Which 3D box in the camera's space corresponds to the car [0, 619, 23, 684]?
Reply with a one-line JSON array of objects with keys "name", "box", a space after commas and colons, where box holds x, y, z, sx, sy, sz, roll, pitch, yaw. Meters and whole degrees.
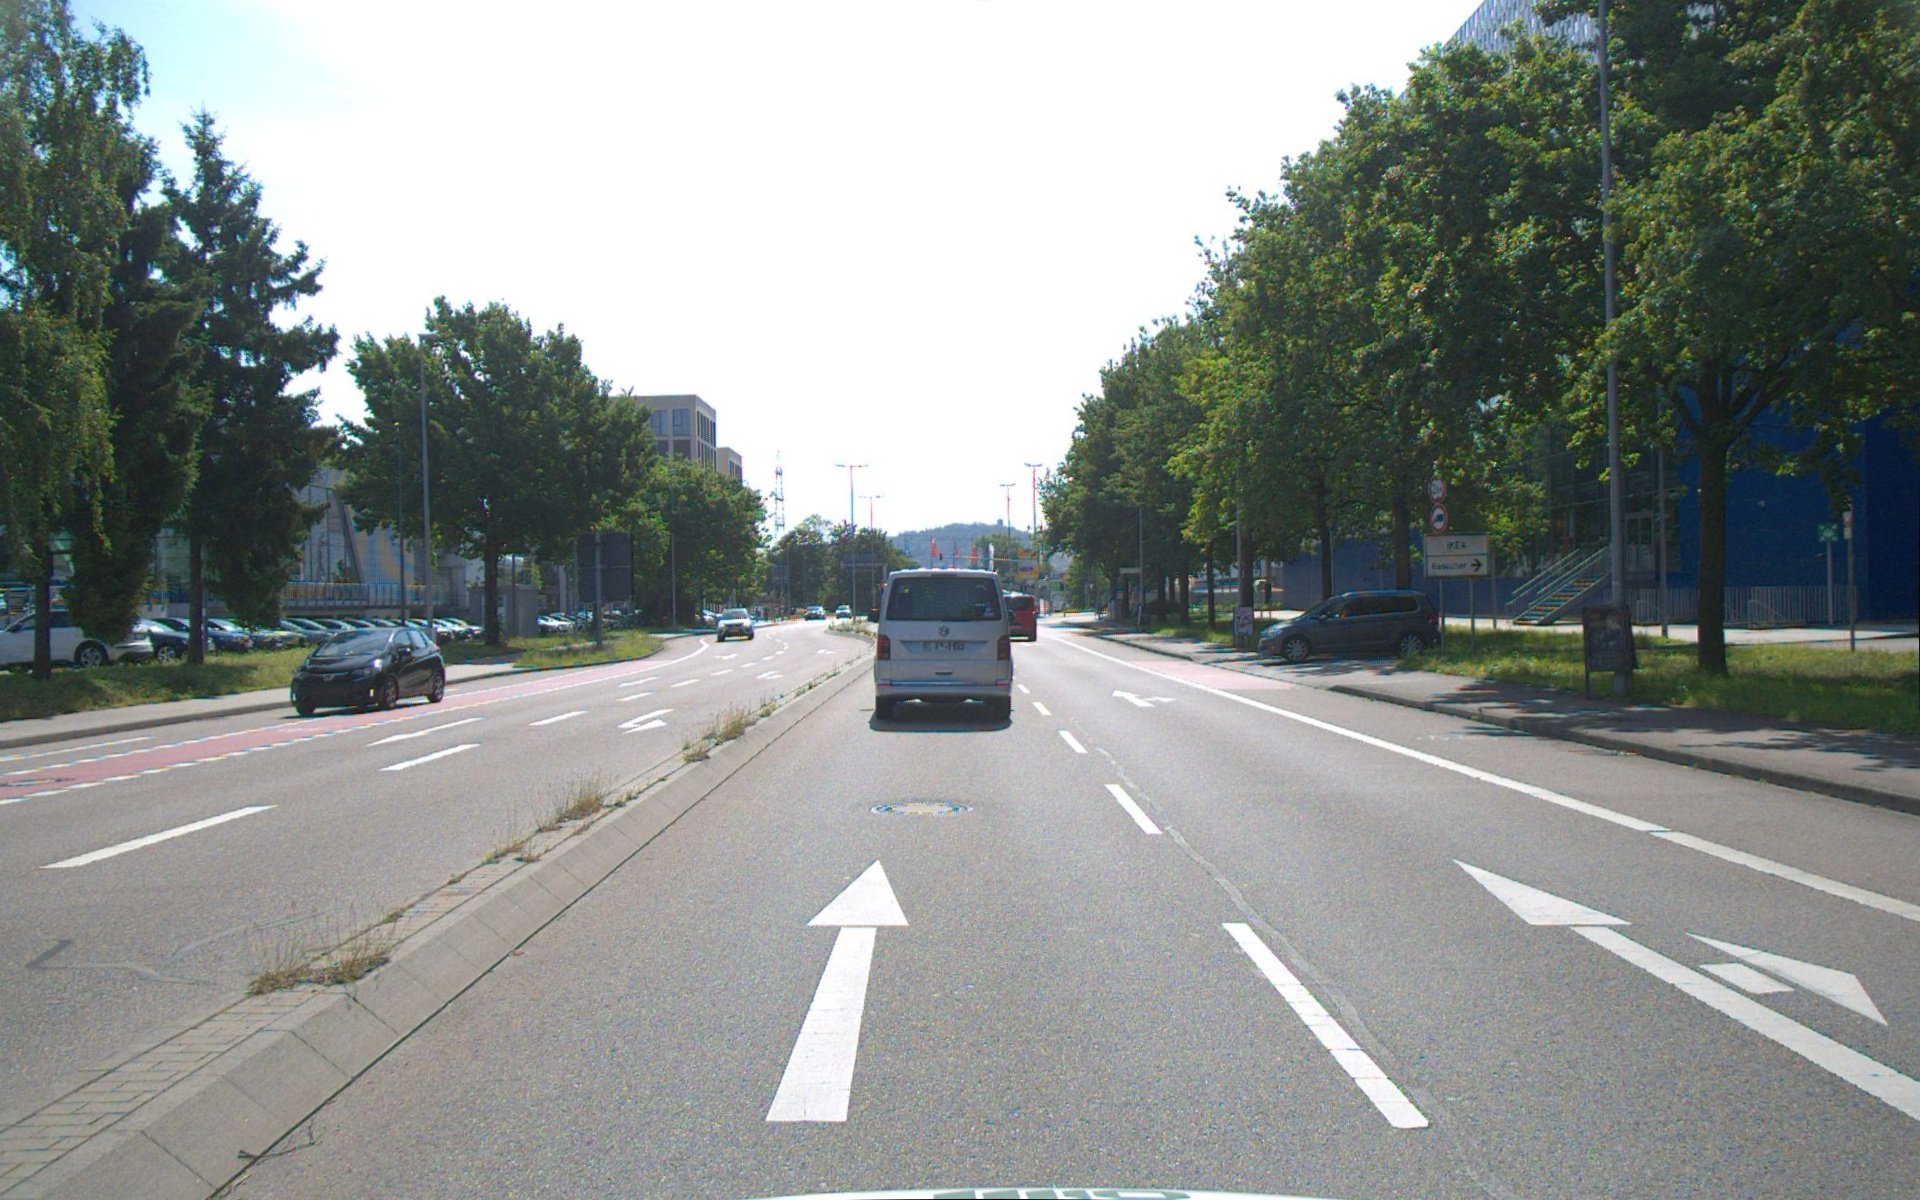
[{"name": "car", "box": [-22.688, 1.122, 35.914, 3.605, 1.395, 1.816, 0, 0, -1]}]

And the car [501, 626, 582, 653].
[{"name": "car", "box": [-24.084, 2.273, 95.255, 4.092, 1.211, 1.954, -5, 0, -3]}]

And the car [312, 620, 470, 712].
[{"name": "car", "box": [-10.962, 1.227, 32.148, 1.663, 1.545, 4.026, -3, 0, -1]}]

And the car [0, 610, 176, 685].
[{"name": "car", "box": [-23.361, 1.229, 43.634, 4.371, 1.908, 2.000, 0, 0, 0]}]

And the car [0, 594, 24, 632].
[{"name": "car", "box": [-39.976, 0.568, 65.705, 4.410, 1.511, 1.978, -2, 0, -3]}]

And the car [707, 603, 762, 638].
[{"name": "car", "box": [-11.388, 1.034, 83.647, 1.952, 1.646, 4.105, -3, 0, 3]}]

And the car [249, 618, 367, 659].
[{"name": "car", "box": [-24.469, 1.436, 62.156, 3.607, 1.307, 1.984, -3, 0, -3]}]

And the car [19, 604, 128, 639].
[{"name": "car", "box": [-39.178, 0.932, 73.138, 3.906, 1.522, 1.667, 0, 0, -1]}]

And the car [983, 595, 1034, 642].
[{"name": "car", "box": [2.105, 0.801, 72.889, 1.928, 2.002, 5.123, 0, 0, -2]}]

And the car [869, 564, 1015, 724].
[{"name": "car", "box": [-0.256, 0.563, 22.987, 1.846, 2.025, 3.999, 0, 0, -1]}]

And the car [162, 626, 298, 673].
[{"name": "car", "box": [-23.986, 1.606, 54.447, 3.668, 1.307, 1.662, -3, 0, -3]}]

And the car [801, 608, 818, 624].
[{"name": "car", "box": [-17.337, 1.815, 191.007, 1.704, 1.646, 4.206, -4, 0, -3]}]

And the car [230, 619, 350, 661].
[{"name": "car", "box": [-24.141, 1.427, 59.668, 3.522, 1.307, 1.864, -3, 0, -3]}]

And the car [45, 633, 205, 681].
[{"name": "car", "box": [-24.046, 1.635, 47.724, 3.715, 1.308, 1.743, 0, 0, -3]}]

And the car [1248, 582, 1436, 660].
[{"name": "car", "box": [9.546, 0.528, 41.602, 4.350, 1.723, 1.845, -3, -1, 6]}]

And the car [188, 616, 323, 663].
[{"name": "car", "box": [-24.236, 1.353, 57.000, 3.810, 1.363, 1.839, -3, 0, -3]}]

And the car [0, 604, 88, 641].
[{"name": "car", "box": [-39.393, 0.936, 69.999, 3.906, 1.522, 2.051, 0, 0, -1]}]

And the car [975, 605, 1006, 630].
[{"name": "car", "box": [1.854, 1.045, 101.921, 1.711, 1.484, 4.475, 0, 0, -1]}]

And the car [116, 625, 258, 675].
[{"name": "car", "box": [-23.890, 1.522, 51.194, 3.522, 1.307, 1.743, -3, 0, -3]}]

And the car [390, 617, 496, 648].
[{"name": "car", "box": [-24.385, 1.517, 78.114, 4.410, 1.312, 1.918, -2, 0, -3]}]
